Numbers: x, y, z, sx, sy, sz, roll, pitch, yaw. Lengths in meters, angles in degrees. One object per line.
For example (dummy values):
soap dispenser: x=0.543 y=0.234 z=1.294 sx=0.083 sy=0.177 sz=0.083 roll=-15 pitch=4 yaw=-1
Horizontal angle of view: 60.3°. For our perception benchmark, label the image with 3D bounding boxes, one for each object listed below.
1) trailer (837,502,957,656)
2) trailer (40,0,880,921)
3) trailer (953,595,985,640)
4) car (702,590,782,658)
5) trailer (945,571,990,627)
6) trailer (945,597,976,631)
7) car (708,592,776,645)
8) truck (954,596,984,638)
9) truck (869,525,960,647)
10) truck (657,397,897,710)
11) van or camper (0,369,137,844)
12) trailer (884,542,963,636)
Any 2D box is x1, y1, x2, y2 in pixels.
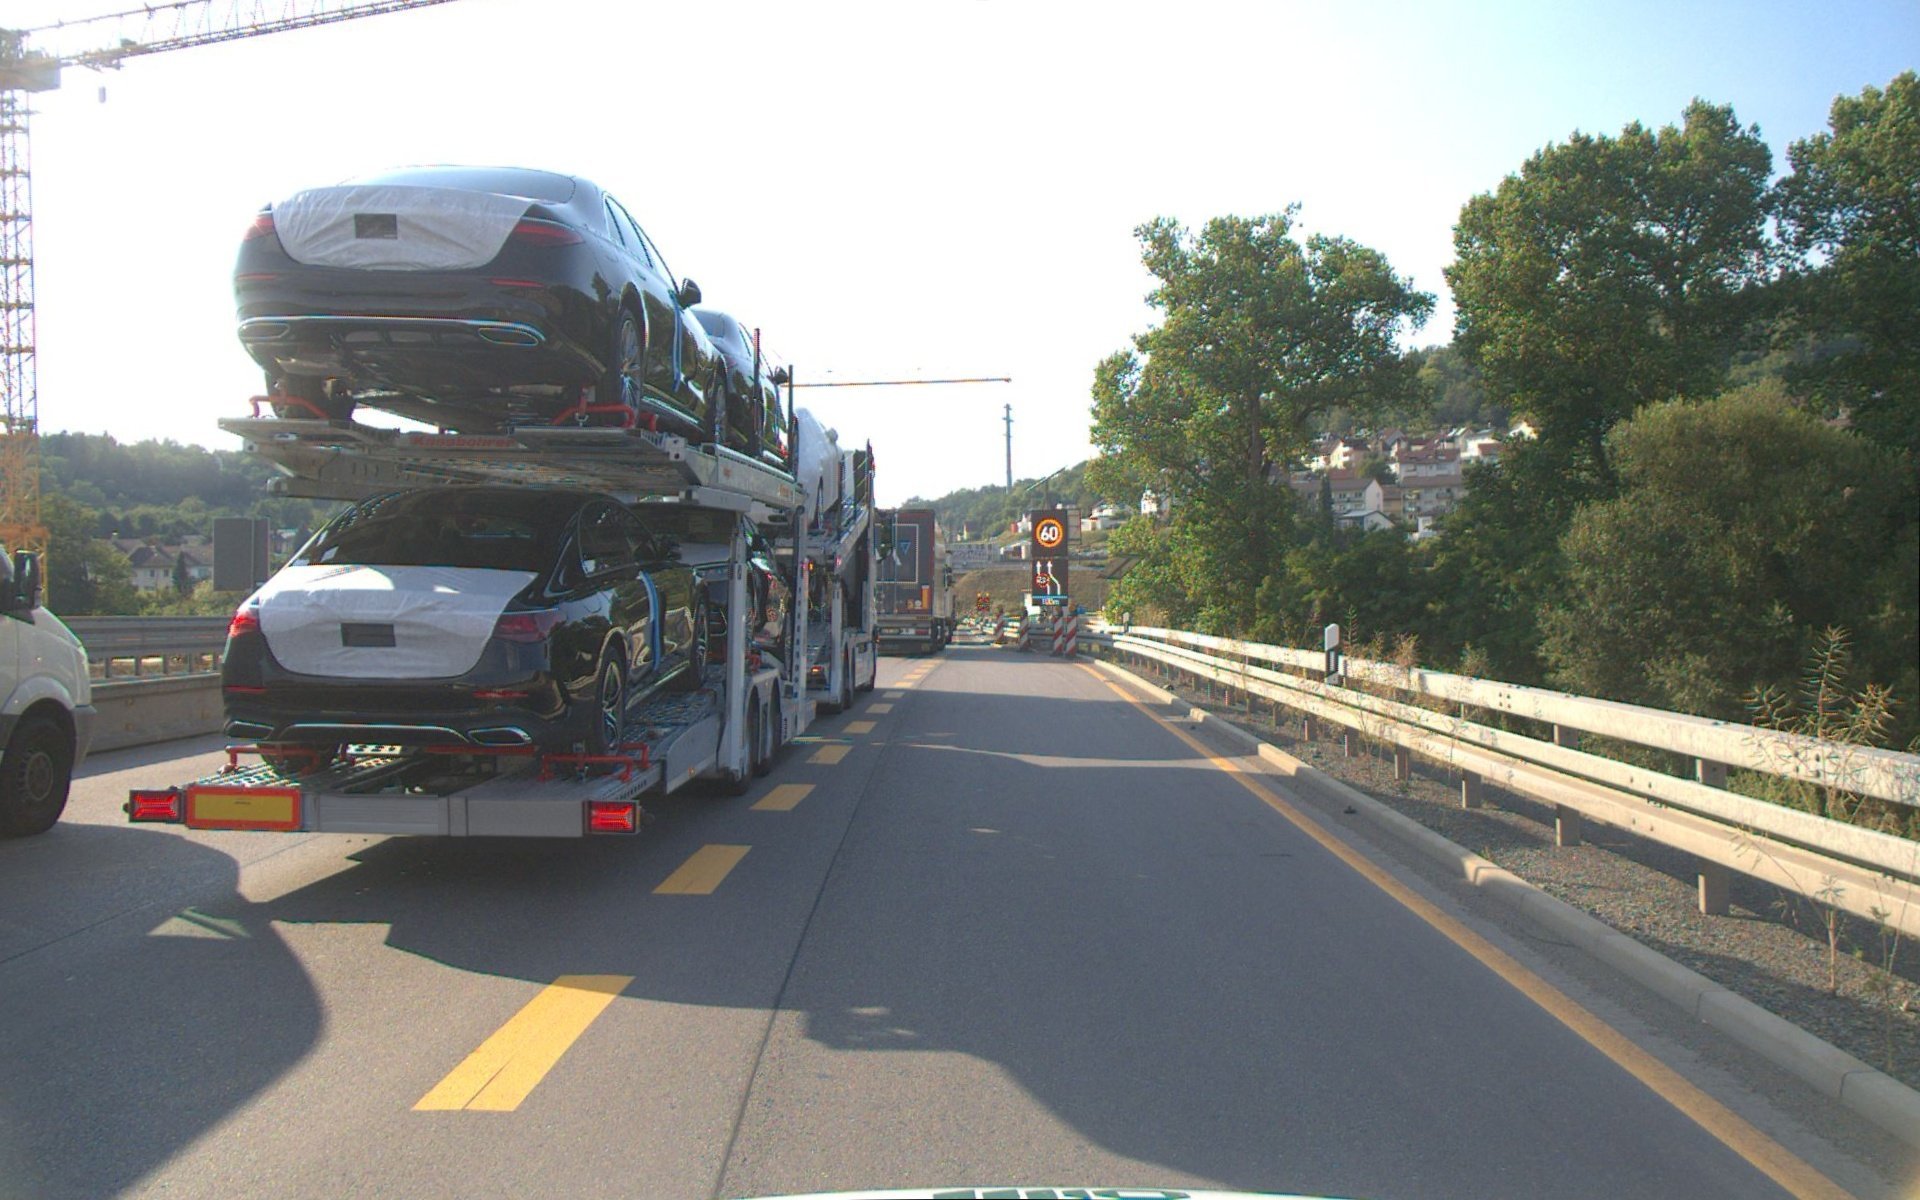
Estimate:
trailer: x=-1.751 y=-0.569 z=51.083 sx=2.897 sy=4.163 sz=10.795 roll=-1 pitch=0 yaw=2
trailer: x=-2.605 y=-0.613 z=15.210 sx=2.798 sy=4.066 sz=15.746 roll=-1 pitch=0 yaw=0
trailer: x=0.916 y=1.724 z=167.428 sx=3.040 sy=4.389 sz=14.252 roll=-1 pitch=0 yaw=0
car: x=-6.151 y=0.654 z=47.003 sx=1.793 sy=1.783 sz=3.999 roll=-2 pitch=0 yaw=-1
trailer: x=0.615 y=-0.055 z=129.735 sx=3.315 sy=4.066 sz=14.745 roll=-1 pitch=0 yaw=0
trailer: x=0.098 y=1.896 z=223.880 sx=4.013 sy=4.389 sz=14.252 roll=-1 pitch=0 yaw=0
car: x=-7.332 y=0.609 z=55.881 sx=1.793 sy=1.683 sz=3.999 roll=-2 pitch=0 yaw=-1
truck: x=0.975 y=1.749 z=174.068 sx=3.034 sy=4.360 sz=6.624 roll=-1 pitch=0 yaw=0
truck: x=-1.521 y=-0.466 z=58.618 sx=2.825 sy=4.066 sz=6.626 roll=-1 pitch=0 yaw=2
truck: x=-2.519 y=-0.603 z=24.908 sx=2.790 sy=4.066 sz=6.624 roll=-1 pitch=0 yaw=0
van or camper: x=-6.397 y=0.035 z=7.821 sx=1.952 sy=2.666 sz=5.904 roll=0 pitch=0 yaw=1
trailer: x=-1.573 y=-0.475 z=79.281 sx=3.315 sy=4.066 sz=14.745 roll=-1 pitch=0 yaw=0
